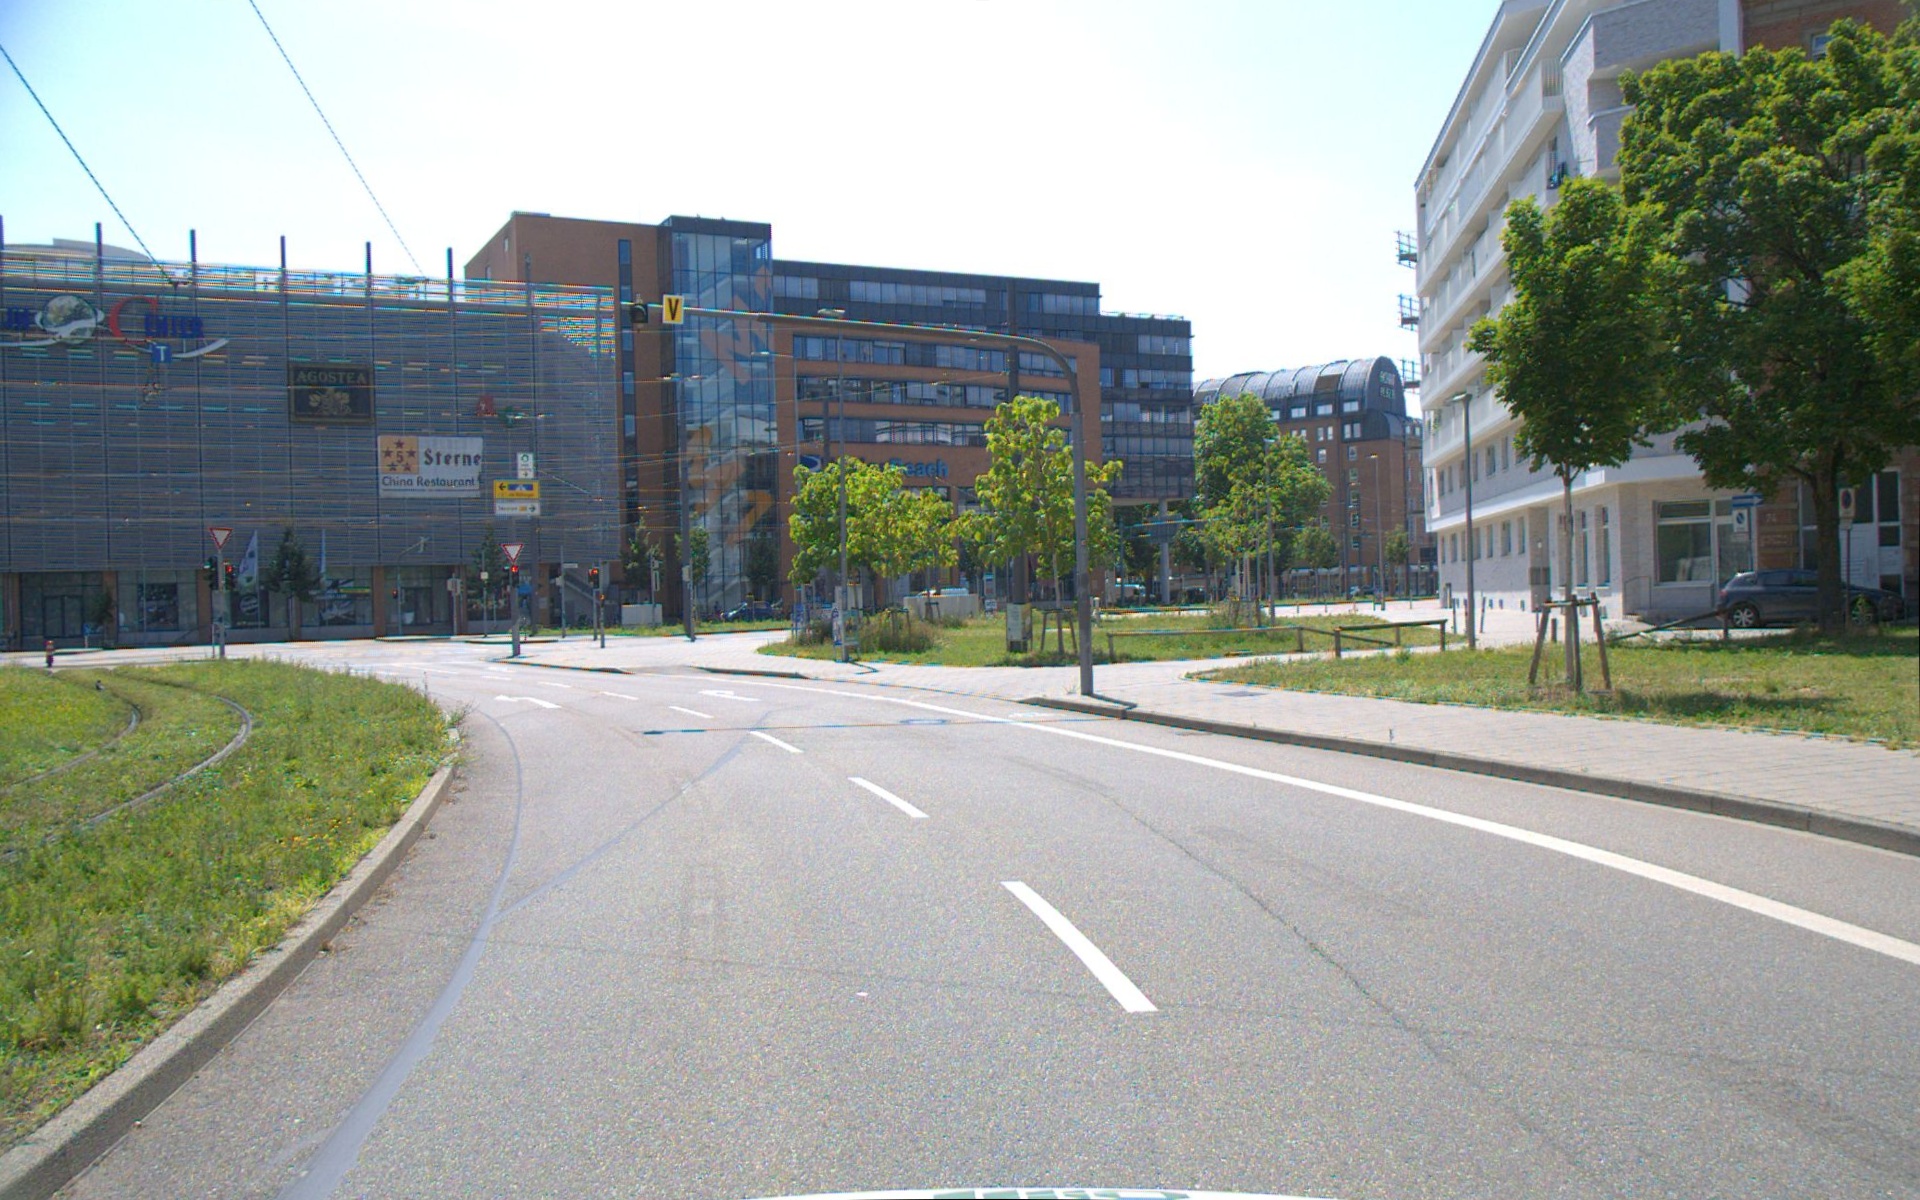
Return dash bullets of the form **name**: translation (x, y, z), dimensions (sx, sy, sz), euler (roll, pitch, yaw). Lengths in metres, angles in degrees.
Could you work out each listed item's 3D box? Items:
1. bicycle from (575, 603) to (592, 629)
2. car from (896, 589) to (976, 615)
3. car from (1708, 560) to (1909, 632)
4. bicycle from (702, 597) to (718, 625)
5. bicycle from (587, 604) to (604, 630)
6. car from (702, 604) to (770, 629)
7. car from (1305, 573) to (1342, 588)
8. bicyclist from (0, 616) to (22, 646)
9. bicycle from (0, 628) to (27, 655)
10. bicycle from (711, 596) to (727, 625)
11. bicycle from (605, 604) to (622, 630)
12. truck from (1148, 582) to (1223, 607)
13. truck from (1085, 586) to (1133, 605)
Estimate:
- **bicycle**: translation (-26.096, 1.116, 114.589), dimensions (0.591, 1.761, 2.240), euler (-1, 0, -27)
- **car**: translation (-1.688, 0.126, 115.215), dimensions (5.416, 1.697, 1.976), euler (-1, 0, -35)
- **car**: translation (20.400, -0.088, 39.836), dimensions (4.051, 1.653, 1.687), euler (-1, 0, 39)
- **bicycle**: translation (-18.164, 0.781, 120.271), dimensions (0.479, 2.049, 2.326), euler (-1, 0, -26)
- **bicycle**: translation (-25.323, 1.154, 115.017), dimensions (0.591, 1.761, 2.240), euler (-1, 0, -27)
- **car**: translation (-14.231, 1.047, 105.210), dimensions (3.945, 1.467, 1.726), euler (-1, 0, -30)
- **car**: translation (43.674, -2.336, 198.658), dimensions (3.925, 1.758, 1.857), euler (-1, 0, 40)
- **bicyclist**: translation (-52.604, 1.720, 91.593), dimensions (1.025, 1.599, 0.772), euler (-1, 0, -22)
- **bicycle**: translation (-52.727, 2.317, 91.920), dimensions (1.047, 1.414, 3.004), euler (-1, 0, -21)
- **bicycle**: translation (-17.584, 0.750, 120.584), dimensions (0.479, 2.049, 2.326), euler (-1, 0, -26)
- **bicycle**: translation (-24.194, 1.188, 115.598), dimensions (0.591, 1.761, 2.240), euler (-1, 0, -27)
- **truck**: translation (26.073, -0.640, 191.520), dimensions (9.071, 2.858, 1.989), euler (-1, 0, 41)
- **truck**: translation (16.912, -0.511, 187.494), dimensions (5.273, 2.049, 1.875), euler (-1, 0, 37)
